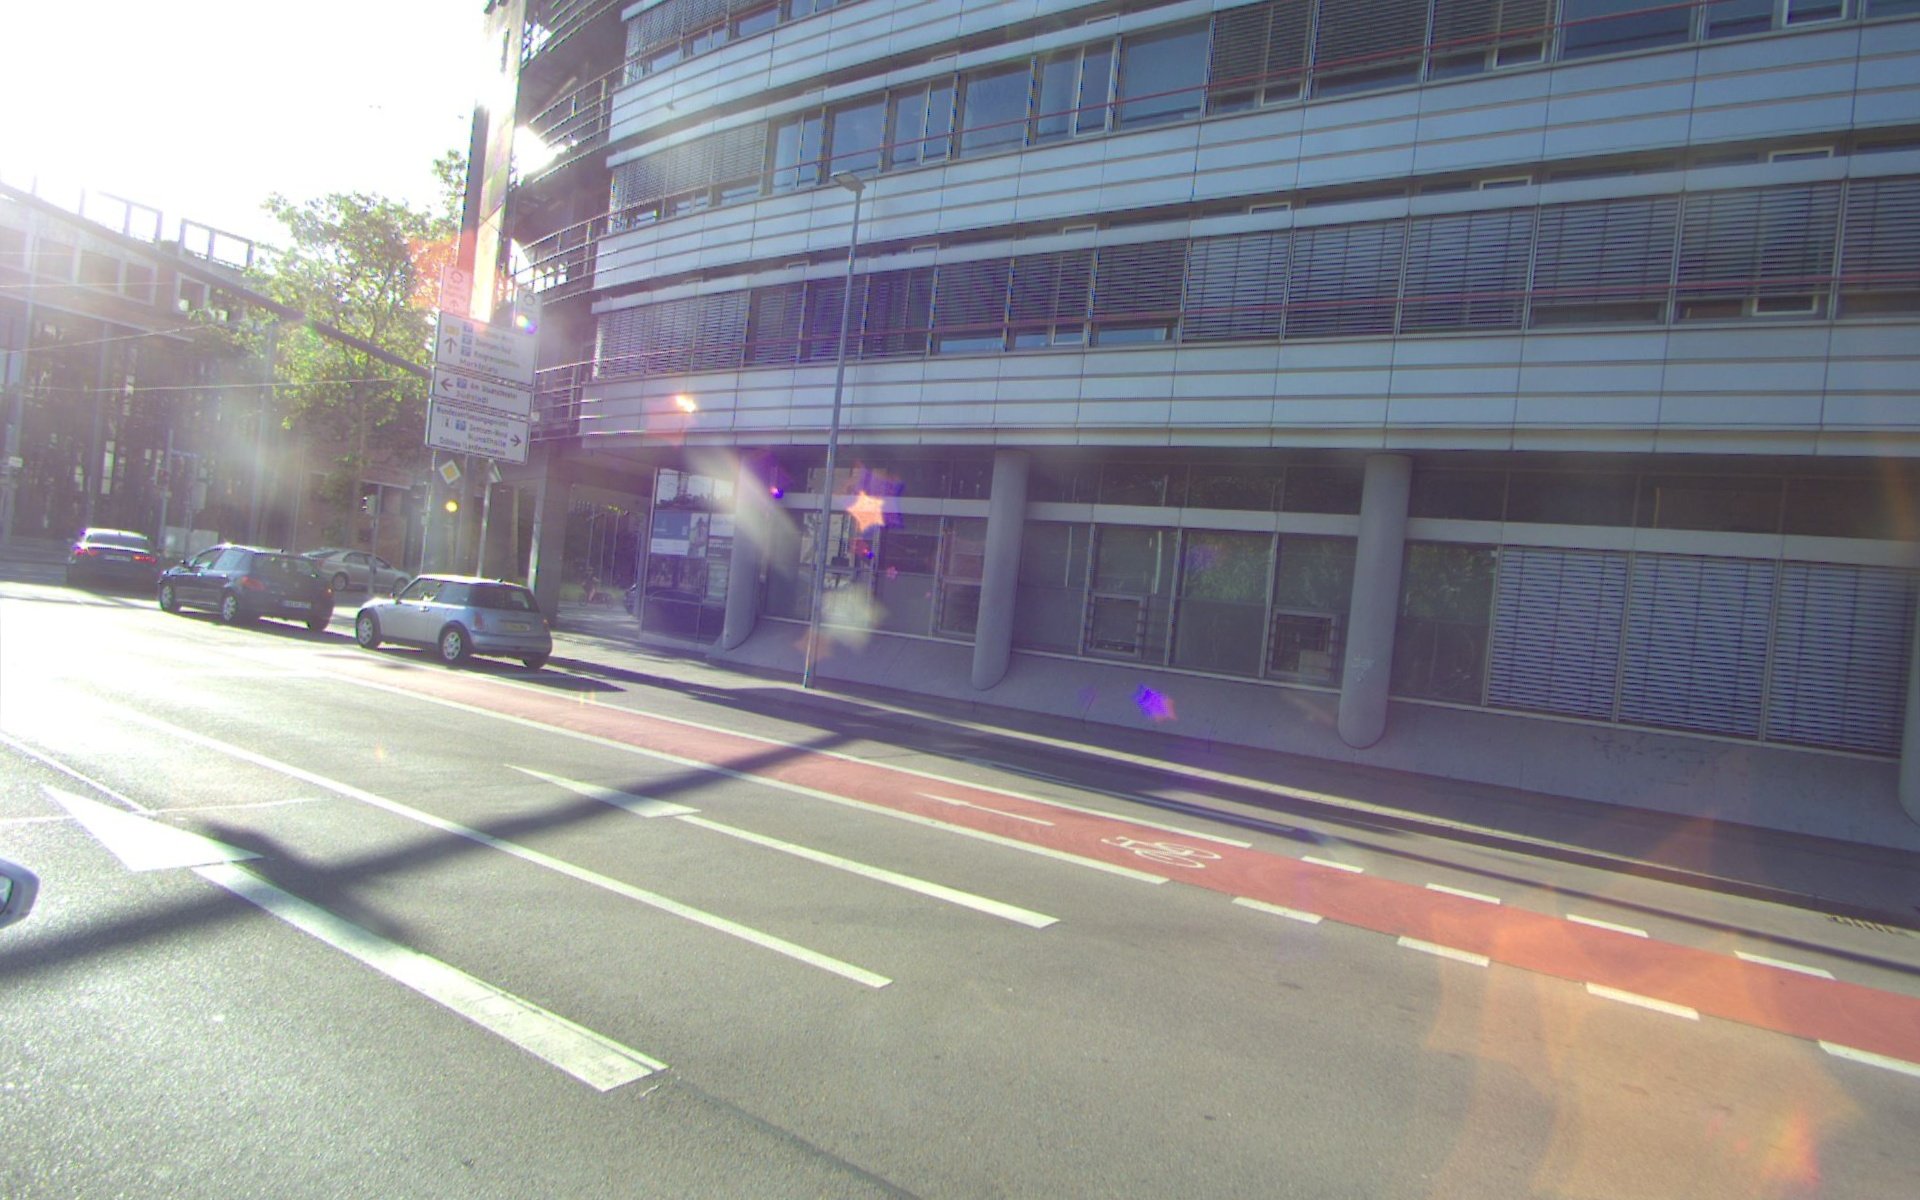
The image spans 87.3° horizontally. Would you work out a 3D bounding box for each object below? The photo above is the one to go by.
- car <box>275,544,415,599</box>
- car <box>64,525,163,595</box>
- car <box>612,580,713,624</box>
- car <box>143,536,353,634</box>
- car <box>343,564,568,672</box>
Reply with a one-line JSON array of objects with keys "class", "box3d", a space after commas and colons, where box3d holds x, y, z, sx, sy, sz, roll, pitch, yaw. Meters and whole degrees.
[{"class": "car", "box3d": [-21.770, -0.965, 35.802, 1.669, 1.492, 3.982, 6, -1, 20]}, {"class": "car", "box3d": [-21.355, -1.018, 25.406, 1.688, 1.457, 3.975, 7, -2, -40]}, {"class": "car", "box3d": [-13.129, 0.121, 44.578, 1.837, 1.492, 3.968, 6, -1, 33]}, {"class": "car", "box3d": [-14.226, -0.314, 20.082, 3.910, 1.493, 1.864, 6, -1, 30]}, {"class": "car", "box3d": [-8.578, 0.296, 17.079, 3.477, 1.405, 1.664, 5, -2, 30]}]
